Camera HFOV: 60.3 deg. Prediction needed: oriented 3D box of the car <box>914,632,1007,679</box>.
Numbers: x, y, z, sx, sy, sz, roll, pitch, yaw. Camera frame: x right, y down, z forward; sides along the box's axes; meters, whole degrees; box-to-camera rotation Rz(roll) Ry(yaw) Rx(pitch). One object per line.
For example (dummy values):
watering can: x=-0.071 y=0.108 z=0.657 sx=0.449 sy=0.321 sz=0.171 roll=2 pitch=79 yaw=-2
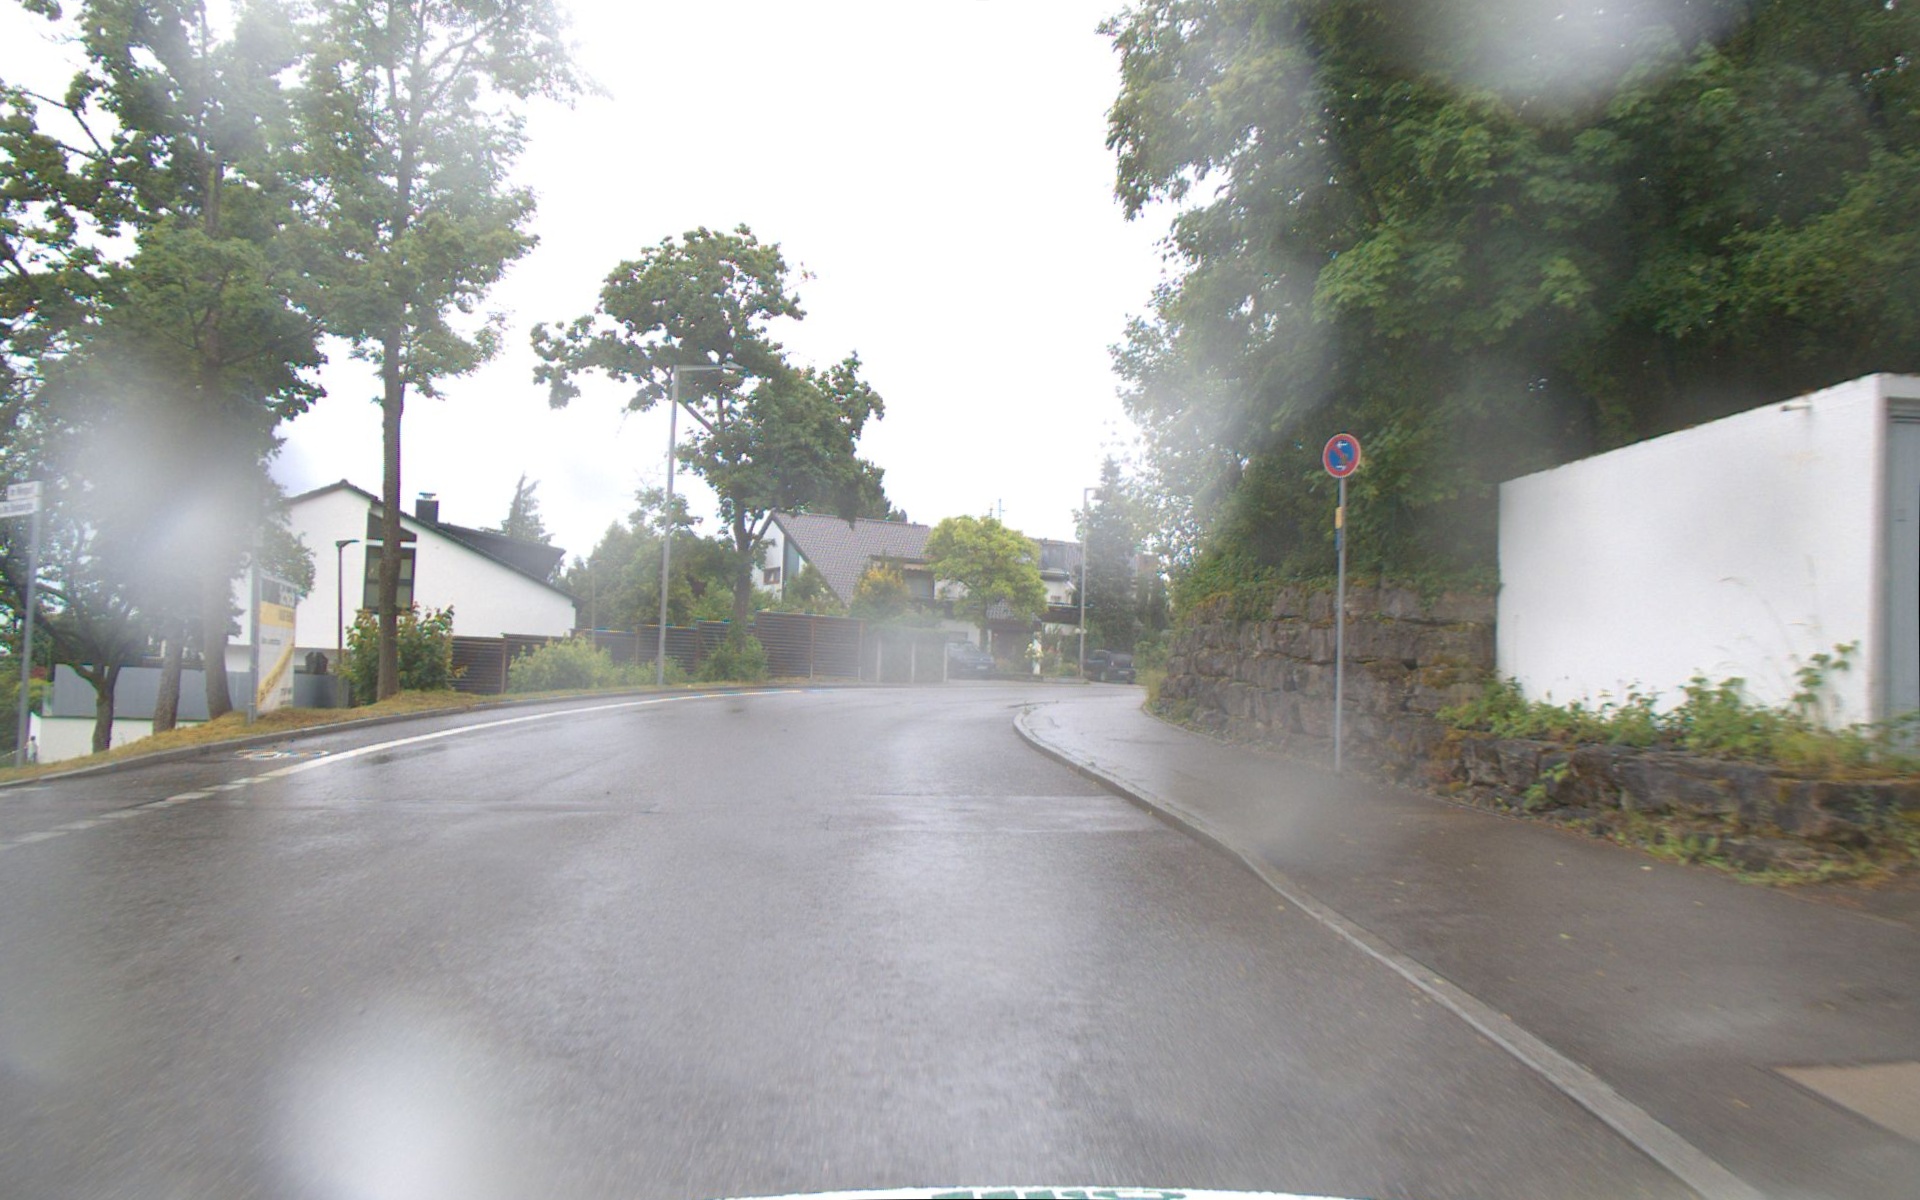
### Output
car: x=0.005 y=2.325 z=69.580 sx=1.990 sy=1.660 sz=3.953 roll=5 pitch=-1 yaw=-34

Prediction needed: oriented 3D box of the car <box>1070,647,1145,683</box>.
car: x=6.825 y=3.019 z=76.891 sx=1.907 sy=1.413 sz=3.975 roll=5 pitch=-2 yaw=-21
